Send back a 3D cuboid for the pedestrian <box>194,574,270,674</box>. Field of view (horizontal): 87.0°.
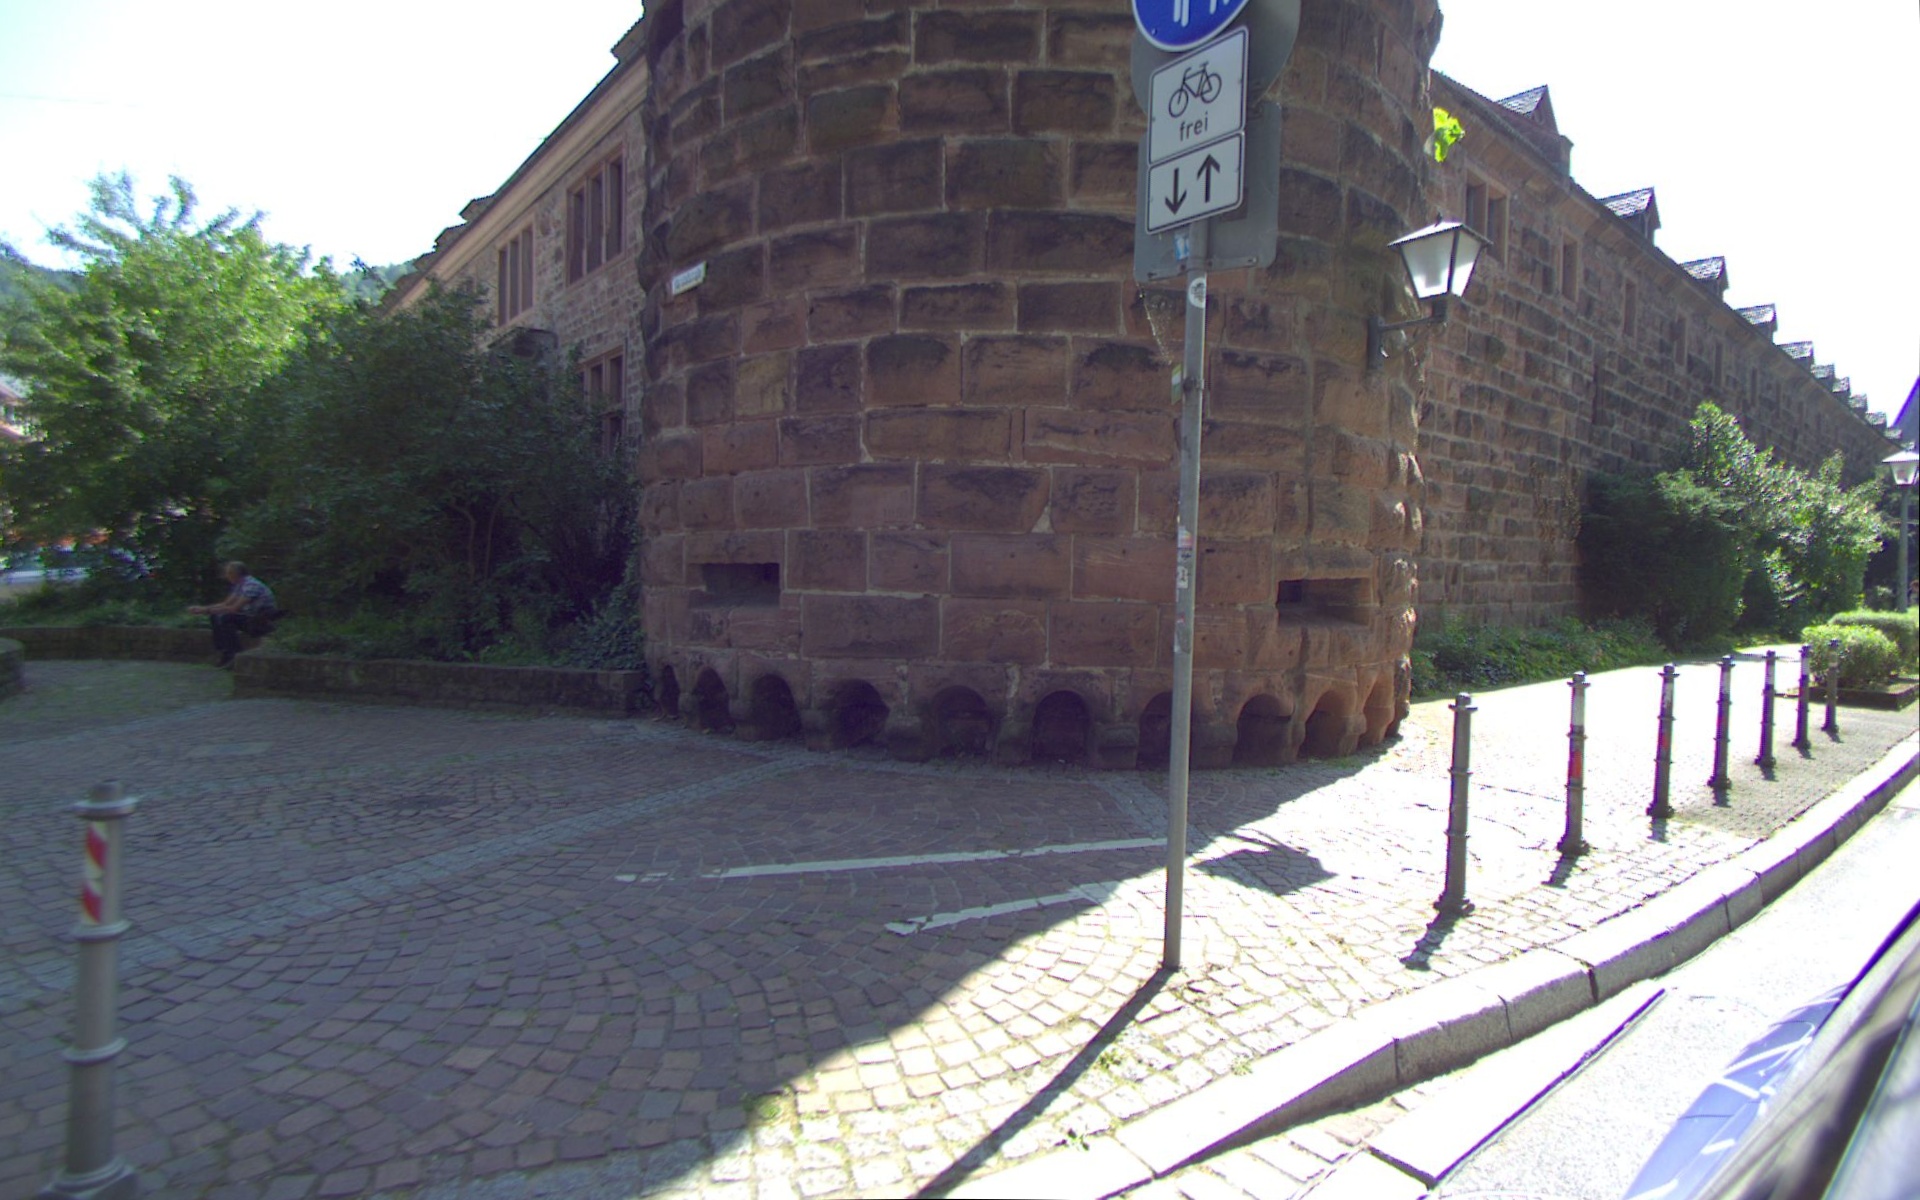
[{"bbox_3d":[-8.228,0.257,11.438,0.638,1.082,0.630,-1,0,-41],"label":"pedestrian"}]

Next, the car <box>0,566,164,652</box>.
[{"bbox_3d":[-20.506,0.182,22.787,3.924,1.843,1.734,-1,0,-35],"label":"car"}]

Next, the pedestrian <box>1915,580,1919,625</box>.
[{"bbox_3d":[34.037,0.075,35.560,0.554,1.583,0.642,-1,0,-40],"label":"pedestrian"}]
